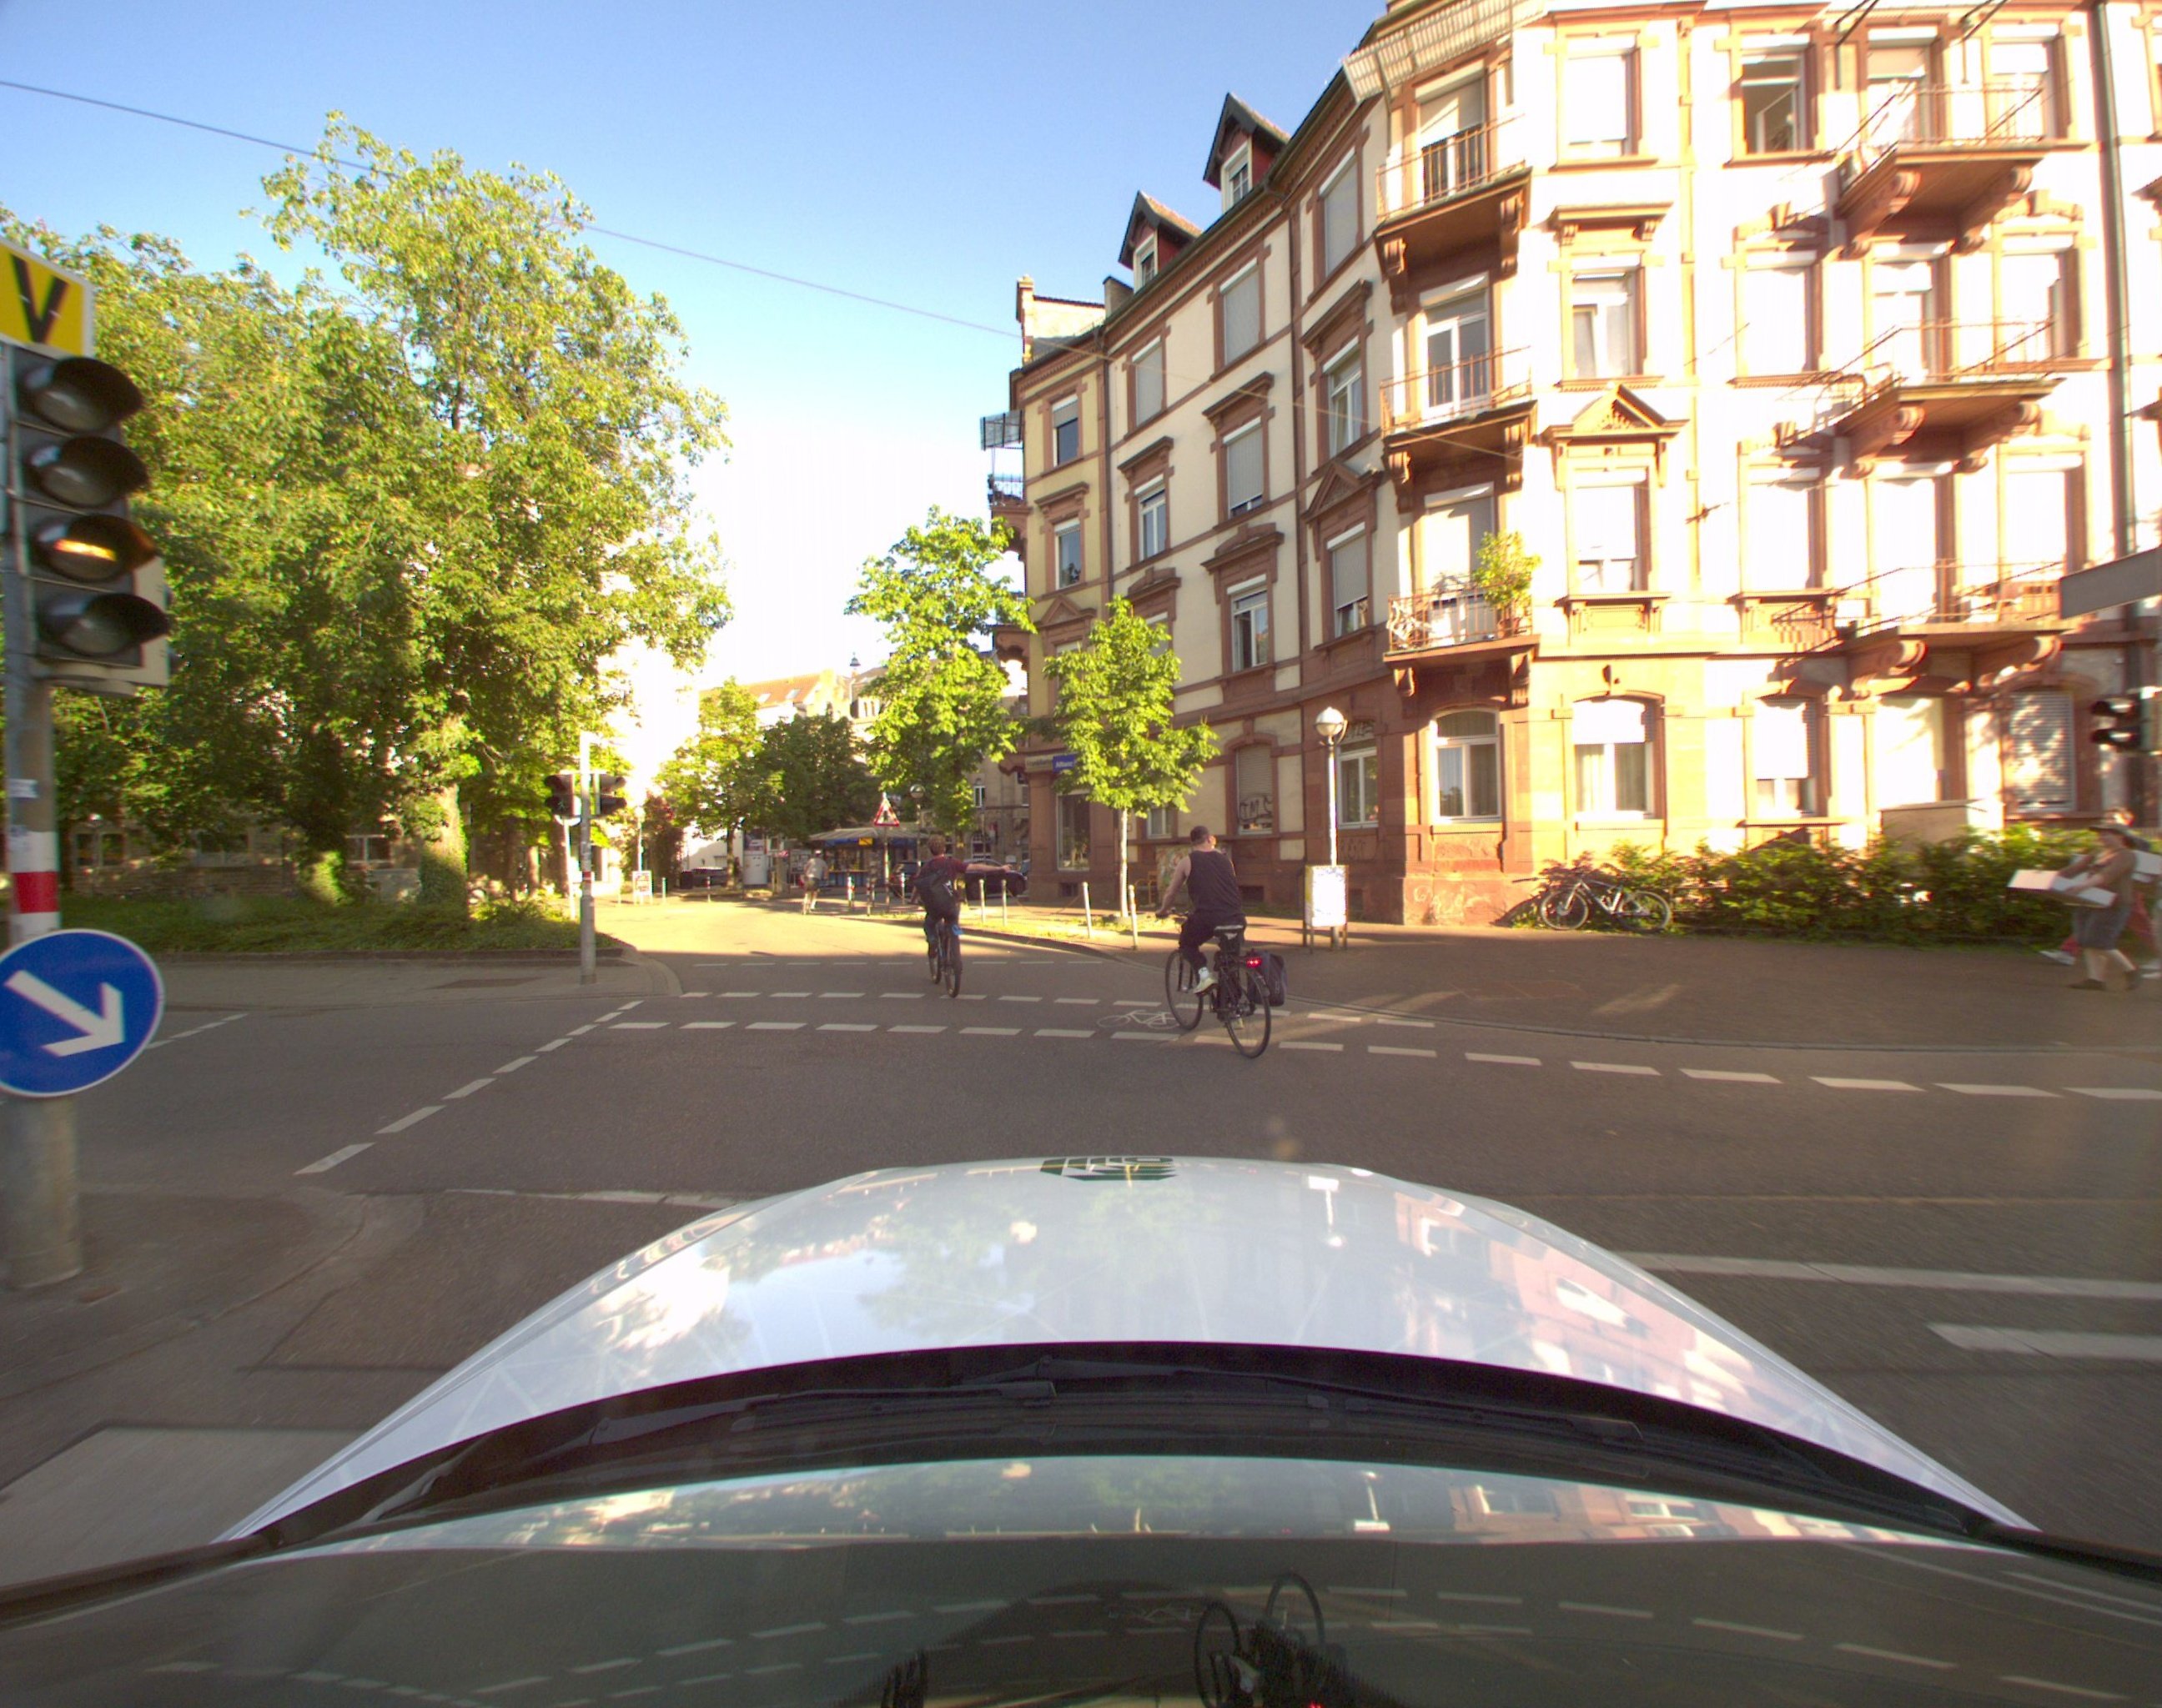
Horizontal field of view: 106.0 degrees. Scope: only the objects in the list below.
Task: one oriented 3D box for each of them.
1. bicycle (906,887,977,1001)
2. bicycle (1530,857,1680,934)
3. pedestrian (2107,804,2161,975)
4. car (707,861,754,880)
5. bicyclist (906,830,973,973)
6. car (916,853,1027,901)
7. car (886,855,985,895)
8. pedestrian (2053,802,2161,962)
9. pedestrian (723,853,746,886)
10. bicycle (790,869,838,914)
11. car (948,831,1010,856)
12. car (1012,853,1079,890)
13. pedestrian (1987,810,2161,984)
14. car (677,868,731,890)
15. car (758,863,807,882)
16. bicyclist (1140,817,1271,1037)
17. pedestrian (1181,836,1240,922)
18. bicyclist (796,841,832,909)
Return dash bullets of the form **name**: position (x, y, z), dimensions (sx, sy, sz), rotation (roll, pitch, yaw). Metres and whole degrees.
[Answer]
- **bicycle**: position (-1.657, 0.982, 9.592), dimensions (0.717, 1.107, 1.959), rotation (-1, 0, -11)
- **bicycle**: position (8.161, 0.608, 12.744), dimensions (1.941, 1.107, 0.446), rotation (0, 1, 37)
- **pedestrian**: position (11.242, 0.347, 8.343), dimensions (0.629, 1.715, 0.667), rotation (-1, 2, 16)
- **car**: position (-28.683, 1.322, 66.595), dimensions (3.527, 1.499, 1.682), rotation (-1, -1, 29)
- **bicyclist**: position (-1.658, 0.528, 9.544), dimensions (0.707, 1.573, 0.953), rotation (-1, 0, -11)
- **car**: position (-3.943, 0.790, 30.043), dimensions (1.774, 1.611, 4.396), rotation (-1, 0, 28)
- **car**: position (-5.901, 0.821, 33.485), dimensions (1.772, 1.542, 3.884), rotation (-1, 0, 34)
- **pedestrian**: position (11.428, 0.305, 9.025), dimensions (0.629, 1.715, 0.523), rotation (-1, 0, 16)
- **pedestrian**: position (-18.475, 0.810, 43.398), dimensions (0.873, 1.750, 0.721), rotation (-1, 0, 24)
- **bicycle**: position (-7.746, 1.067, 23.739), dimensions (0.808, 1.185, 2.223), rotation (-1, 0, -5)
- **car**: position (-7.204, -0.753, 57.601), dimensions (3.950, 1.647, 1.890), rotation (-1, 0, 27)
- **car**: position (-1.452, 0.707, 34.686), dimensions (1.487, 1.457, 3.226), rotation (-1, 0, 25)
- **pedestrian**: position (9.986, 0.404, 8.223), dimensions (0.888, 1.664, 0.716), rotation (-1, 2, 20)
- **car**: position (-26.473, 1.733, 57.193), dimensions (3.527, 1.499, 1.682), rotation (-1, -1, 28)
- **car**: position (-23.648, 1.457, 64.528), dimensions (3.528, 1.499, 1.681), rotation (-1, -1, 27)
- **bicyclist**: position (1.000, 0.564, 6.755), dimensions (0.687, 1.656, 0.984), rotation (-2, -2, -15)
- **pedestrian**: position (2.556, 0.466, 16.130), dimensions (0.727, 1.634, 0.896), rotation (-2, 2, -28)
- **bicyclist**: position (-7.775, 0.599, 23.743), dimensions (0.793, 1.913, 0.942), rotation (-1, 0, -7)
